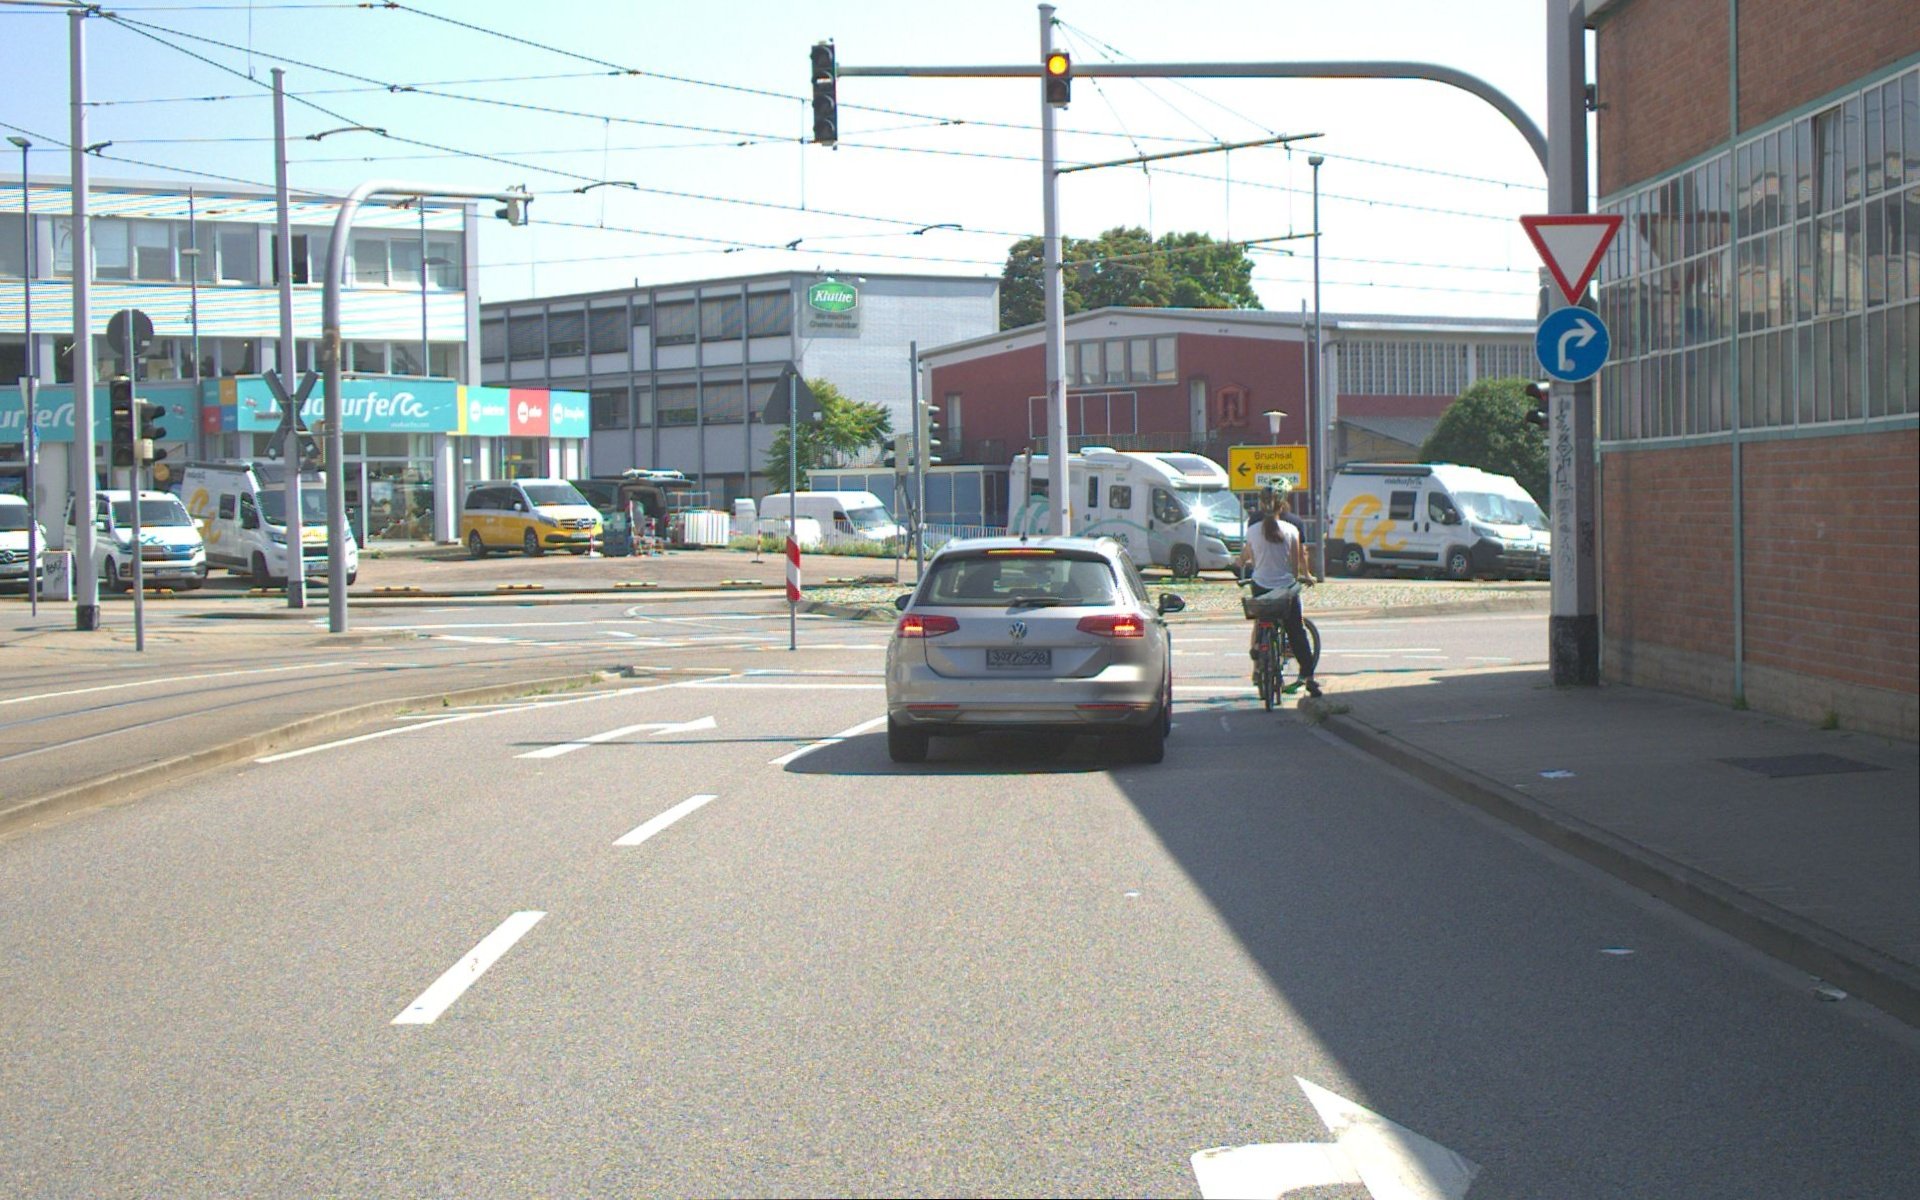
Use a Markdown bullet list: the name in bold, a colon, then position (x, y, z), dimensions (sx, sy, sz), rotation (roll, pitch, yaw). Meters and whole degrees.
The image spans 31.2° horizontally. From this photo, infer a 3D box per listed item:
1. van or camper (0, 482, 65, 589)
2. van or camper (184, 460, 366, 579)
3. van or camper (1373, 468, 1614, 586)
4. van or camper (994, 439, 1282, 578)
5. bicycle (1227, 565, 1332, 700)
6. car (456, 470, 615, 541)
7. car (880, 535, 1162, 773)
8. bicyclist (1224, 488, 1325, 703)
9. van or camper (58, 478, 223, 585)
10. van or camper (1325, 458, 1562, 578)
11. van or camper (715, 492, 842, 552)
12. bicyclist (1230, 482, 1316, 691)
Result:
- **van or camper**: position (-20.222, -1.371, 71.349), dimensions (1.993, 2.006, 4.763), rotation (-2, 4, -30)
- **van or camper**: position (-14.616, -1.765, 73.130), dimensions (2.031, 2.288, 5.813), rotation (-2, 4, -30)
- **van or camper**: position (12.830, -1.813, 83.065), dimensions (2.282, 2.602, 5.892), rotation (-3, 4, -36)
- **van or camper**: position (3.988, -2.158, 78.528), dimensions (2.347, 2.920, 6.984), rotation (-3, 5, -42)
- **bicycle**: position (2.585, 0.244, 27.992), dimensions (0.794, 1.018, 2.150), rotation (0, 1, 4)
- **car**: position (-10.771, -2.374, 86.951), dimensions (1.938, 1.753, 5.122), rotation (-1, 1, -33)
- **car**: position (0.485, 0.303, 23.424), dimensions (1.746, 1.454, 4.000), rotation (-1, 1, 3)
- **bicyclist**: position (2.550, -0.047, 27.968), dimensions (0.786, 1.716, 1.147), rotation (0, 1, 4)
- **van or camper**: position (-17.106, -1.473, 71.626), dimensions (1.993, 2.006, 5.011), rotation (-2, 4, -30)
- **van or camper**: position (11.077, -1.941, 79.189), dimensions (2.282, 2.431, 5.386), rotation (-3, 6, -36)
- **van or camper**: position (-6.010, -2.566, 113.361), dimensions (3.997, 1.941, 1.995), rotation (1, 2, 44)
- **bicyclist**: position (2.744, -0.131, 30.186), dimensions (0.708, 1.804, 0.983), rotation (0, 1, 3)
